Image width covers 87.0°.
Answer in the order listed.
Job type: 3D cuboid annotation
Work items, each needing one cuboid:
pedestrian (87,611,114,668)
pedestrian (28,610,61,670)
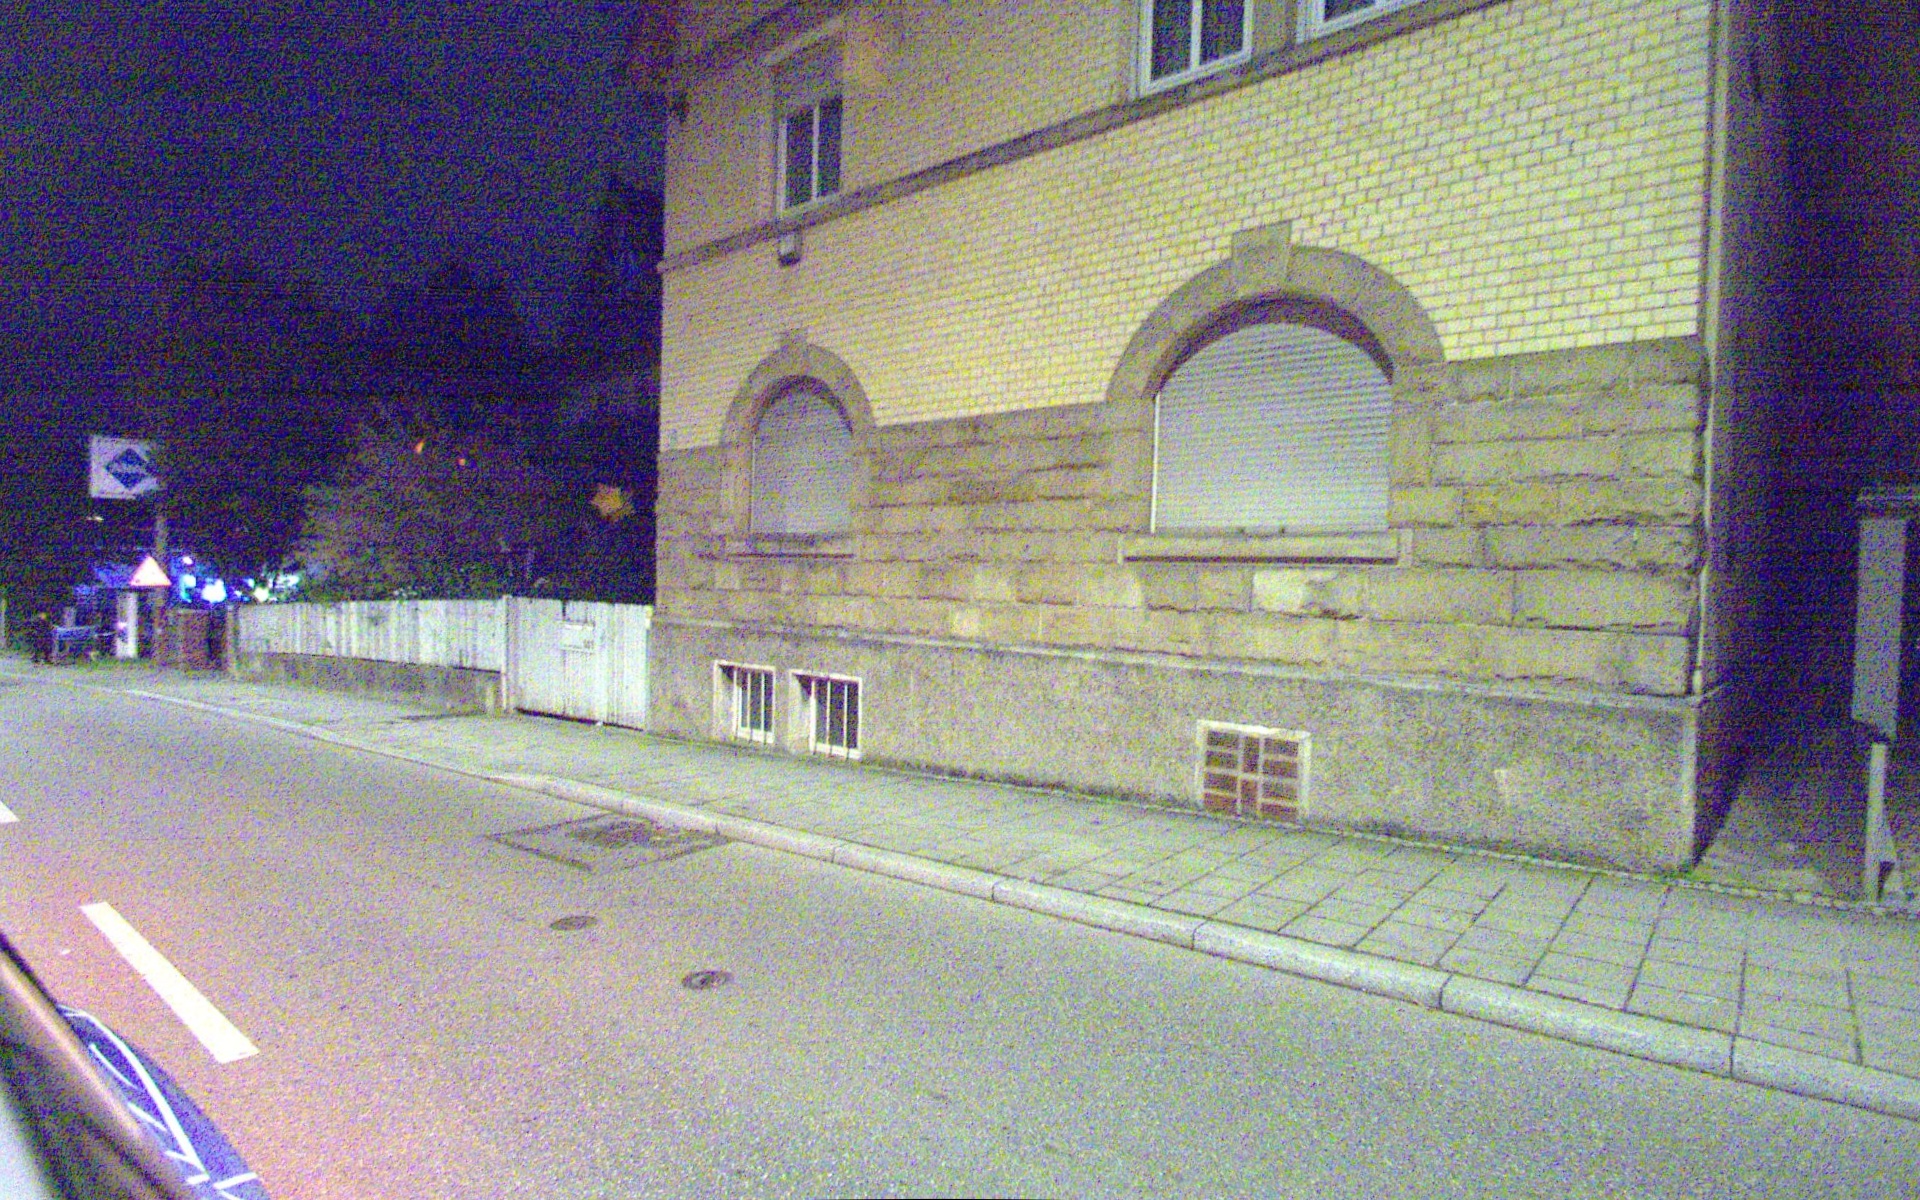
[{"bbox_3d":[-26.925,1.224,31.699,0.500,1.773,0.557,-1,0,41],"label":"pedestrian"},{"bbox_3d":[-27.458,1.182,30.352,0.500,1.773,0.664,-1,0,41],"label":"pedestrian"}]
